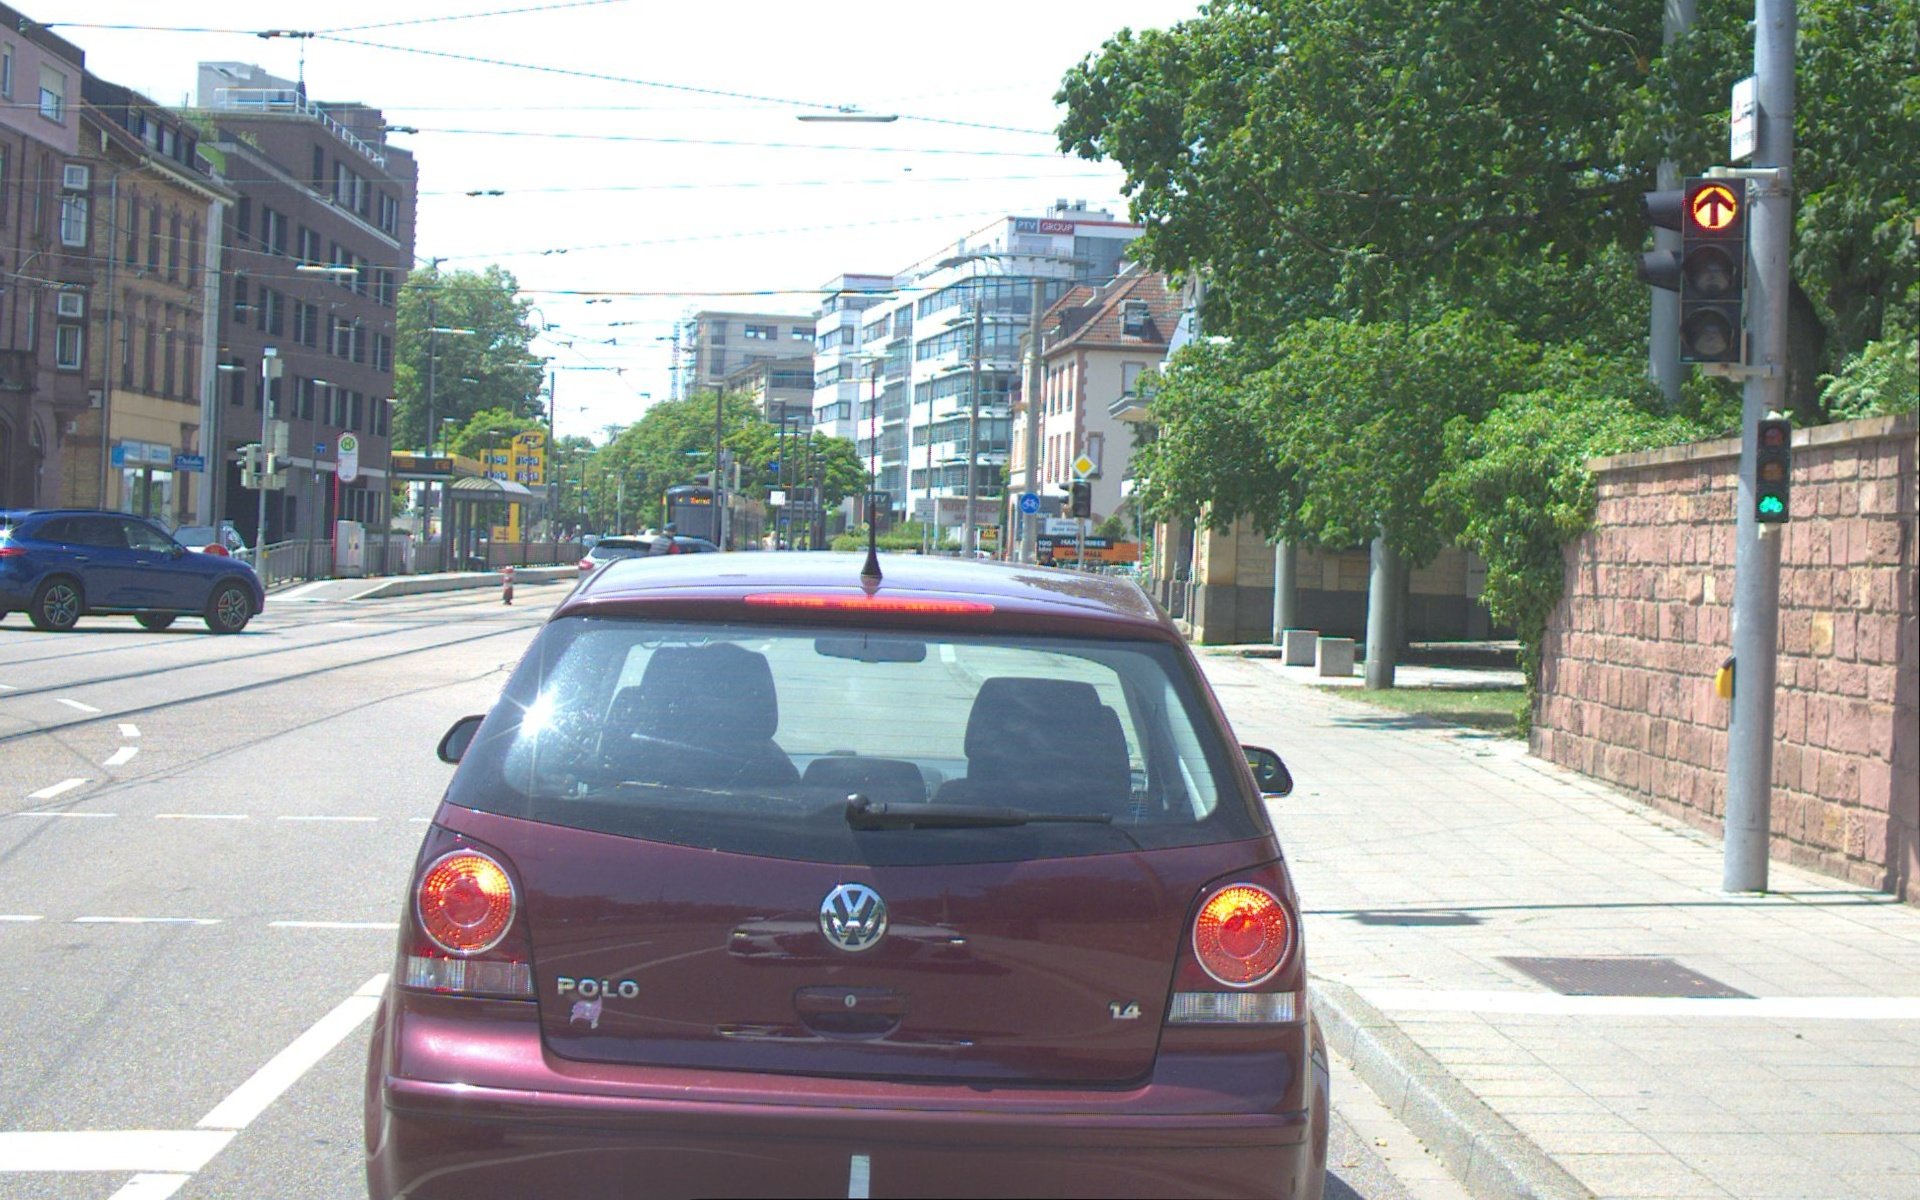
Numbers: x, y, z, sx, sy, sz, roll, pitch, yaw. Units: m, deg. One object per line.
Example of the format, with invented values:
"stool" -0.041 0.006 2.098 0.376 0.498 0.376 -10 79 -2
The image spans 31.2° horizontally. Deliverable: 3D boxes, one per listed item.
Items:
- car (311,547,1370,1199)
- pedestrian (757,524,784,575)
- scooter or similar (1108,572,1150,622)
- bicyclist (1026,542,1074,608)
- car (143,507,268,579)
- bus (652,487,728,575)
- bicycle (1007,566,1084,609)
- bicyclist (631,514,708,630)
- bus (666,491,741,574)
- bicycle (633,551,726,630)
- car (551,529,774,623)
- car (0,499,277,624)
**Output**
"car" -0.232 0.654 6.716 1.561 1.448 3.062 2 1 -2
"pedestrian" -6.353 -1.705 115.318 0.763 1.669 1.100 2 1 0
"scooter or similar" 4.109 -0.086 83.859 0.339 1.174 1.468 2 1 -25
"bicyclist" 2.255 -0.634 86.604 0.857 1.612 0.835 -3 3 -32
"car" -17.532 -1.324 80.015 1.993 1.547 4.139 2 1 -1
"bus" -9.646 -2.469 123.296 2.145 2.993 6.574 2 1 0
"bicycle" 2.164 -0.325 86.560 1.857 0.999 0.670 -3 3 -32
"bicyclist" -4.492 -0.439 53.236 0.728 1.754 0.922 3 1 32
"bus" -9.652 -2.534 129.873 2.233 2.993 6.594 2 1 0
"bicycle" -4.348 -0.154 53.423 0.376 1.193 1.902 3 1 30
"car" -5.146 -0.401 59.957 1.826 1.525 3.993 3 1 31
"car" -11.939 -0.528 47.536 1.998 1.619 4.621 3 1 39
